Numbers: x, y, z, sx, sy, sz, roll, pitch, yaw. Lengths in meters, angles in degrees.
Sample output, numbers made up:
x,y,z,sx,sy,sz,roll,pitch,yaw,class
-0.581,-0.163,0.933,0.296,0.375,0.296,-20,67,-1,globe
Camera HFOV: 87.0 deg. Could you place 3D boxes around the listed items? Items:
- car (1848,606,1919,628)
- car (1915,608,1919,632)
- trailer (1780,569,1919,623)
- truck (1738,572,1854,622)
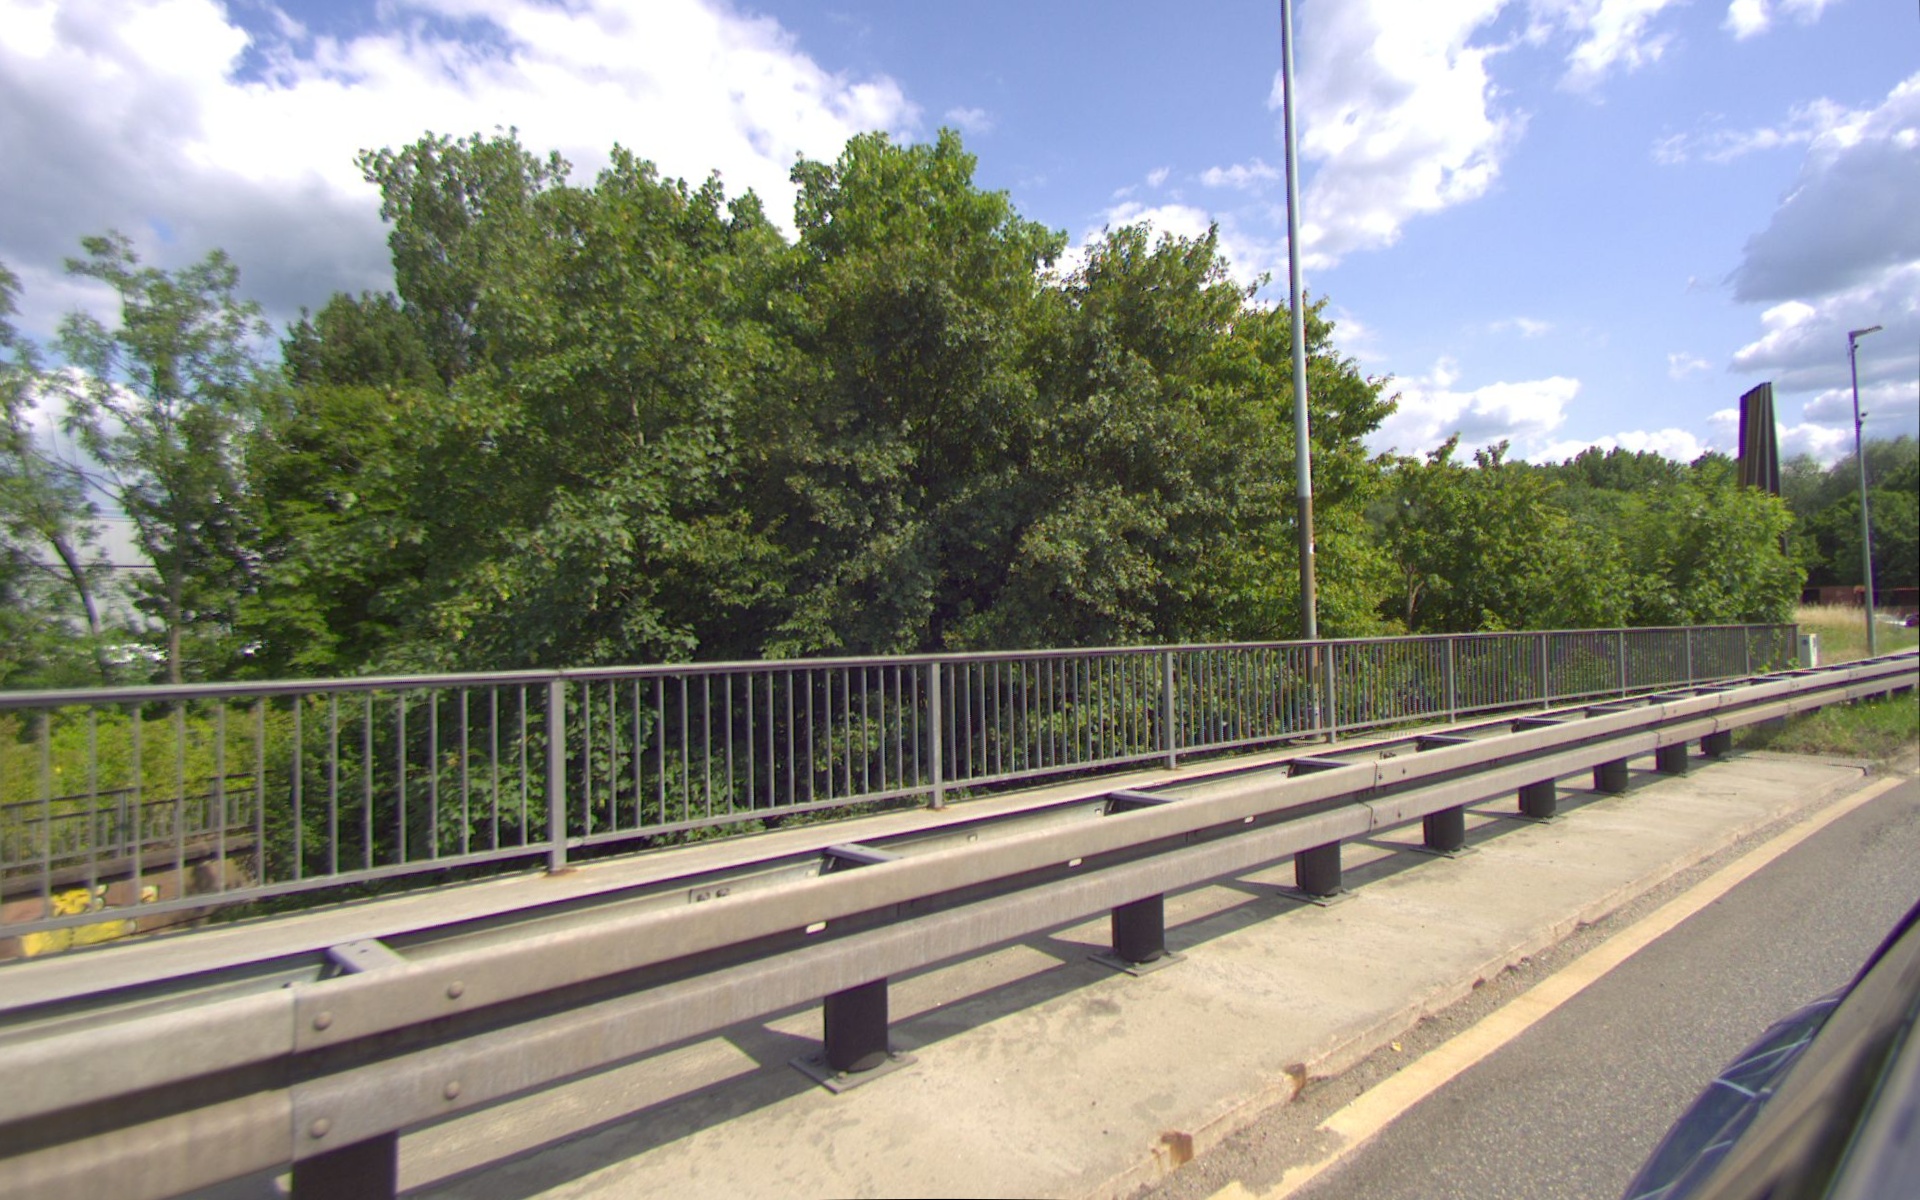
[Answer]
x,y,z,sx,sy,sz,roll,pitch,yaw,class
59.979,1.124,65.266,1.614,1.393,4.217,1,-1,-3,car
56.793,1.122,57.078,1.725,1.393,4.217,1,-1,-3,car
70.504,-0.259,77.431,2.722,3.899,12.344,0,-1,-21,trailer
68.393,-0.167,83.001,2.720,3.895,6.832,1,-1,-21,truck
